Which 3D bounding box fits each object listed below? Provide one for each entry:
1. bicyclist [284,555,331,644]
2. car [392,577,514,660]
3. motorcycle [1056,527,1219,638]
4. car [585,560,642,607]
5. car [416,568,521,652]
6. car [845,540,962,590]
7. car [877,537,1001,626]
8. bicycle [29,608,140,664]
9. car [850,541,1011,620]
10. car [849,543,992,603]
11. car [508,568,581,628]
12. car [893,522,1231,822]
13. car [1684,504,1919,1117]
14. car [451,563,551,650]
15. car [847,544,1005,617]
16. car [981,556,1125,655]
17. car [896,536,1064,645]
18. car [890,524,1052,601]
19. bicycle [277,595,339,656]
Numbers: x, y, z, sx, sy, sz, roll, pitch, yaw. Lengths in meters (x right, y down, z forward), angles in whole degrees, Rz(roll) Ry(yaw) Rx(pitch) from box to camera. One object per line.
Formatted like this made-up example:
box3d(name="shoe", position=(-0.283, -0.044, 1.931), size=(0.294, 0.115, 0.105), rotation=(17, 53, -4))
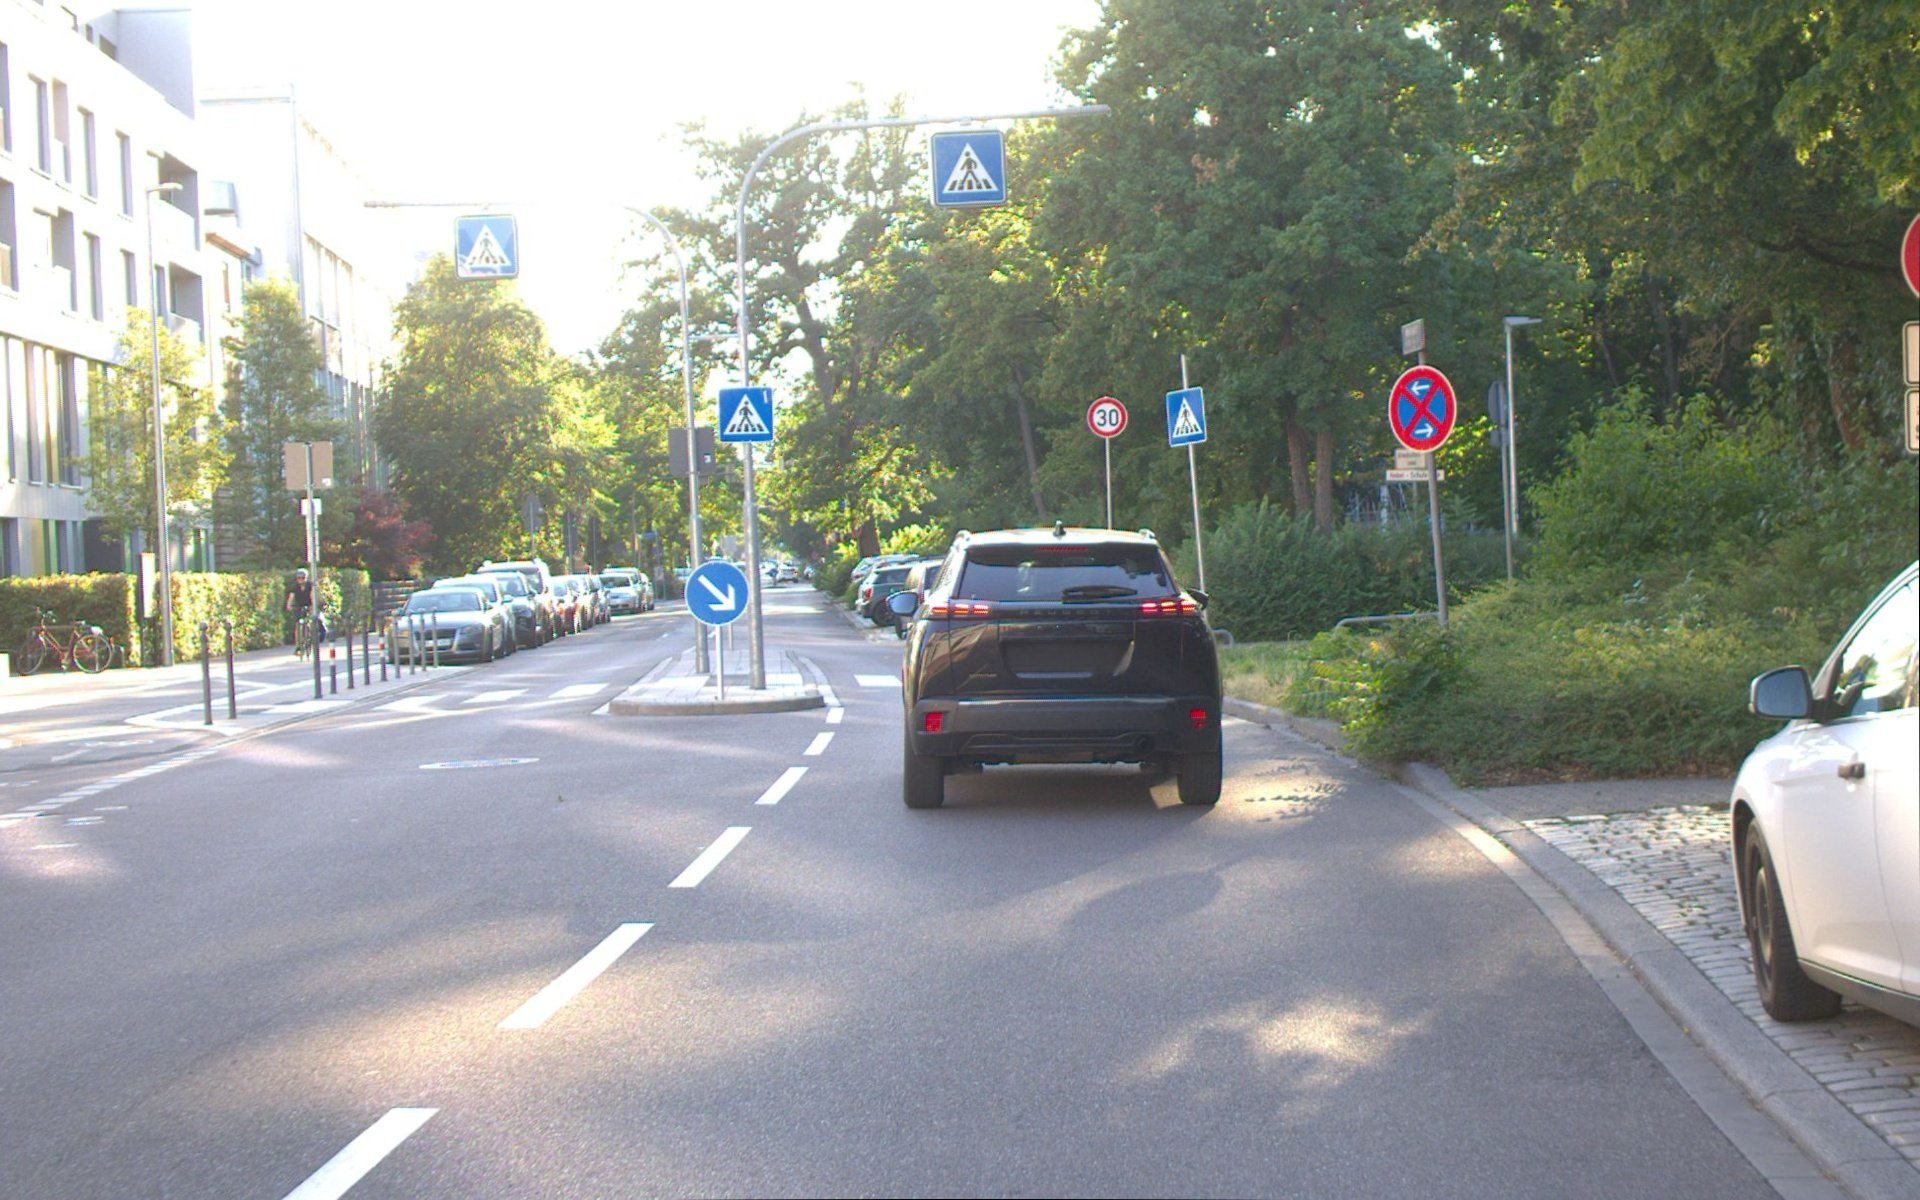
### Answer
box3d(name="bicyclist", position=(-12.304, -0.022, 64.852), size=(0.626, 1.639, 0.757), rotation=(-3, 1, 4))
box3d(name="car", position=(-9.252, 0.316, 62.983), size=(1.742, 1.352, 4.397), rotation=(-3, 1, -3))
box3d(name="motorcycle", position=(2.676, -0.270, 51.726), size=(2.292, 1.539, 1.039), rotation=(-3, 1, 8))
box3d(name="car", position=(-12.244, -0.598, 121.693), size=(1.670, 1.488, 4.062), rotation=(-4, 1, -2))
box3d(name="car", position=(-9.697, 0.171, 68.075), size=(1.742, 1.528, 4.116), rotation=(-3, 1, -5))
box3d(name="car", position=(-2.063, -1.282, 126.187), size=(4.170, 1.704, 1.867), rotation=(-2, 1, 1))
box3d(name="car", position=(-0.437, -0.361, 65.958), size=(1.650, 1.562, 4.302), rotation=(-3, 1, -9))
box3d(name="bicycle", position=(-15.036, 0.612, 59.041), size=(1.751, 0.915, 0.617), rotation=(-1, 0, -5))
box3d(name="car", position=(-0.723, -0.479, 82.255), size=(3.609, 1.520, 1.672), rotation=(-6, 1, -4))
box3d(name="car", position=(-1.266, -0.862, 108.159), size=(4.337, 1.470, 1.742), rotation=(-5, 2, -2))
box3d(name="car", position=(-10.702, -0.067, 88.690), size=(1.598, 1.450, 3.862), rotation=(-3, 1, -4))
box3d(name="car", position=(0.511, 0.353, 20.007), size=(1.768, 1.563, 3.381), rotation=(-1, 1, -1))
box3d(name="car", position=(3.177, 0.472, 8.773), size=(1.748, 1.481, 4.176), rotation=(-2, 1, 0))
box3d(name="car", position=(-9.816, 0.113, 73.799), size=(1.742, 1.670, 4.417), rotation=(-4, 1, -4))
box3d(name="car", position=(-0.857, -0.490, 84.632), size=(3.666, 1.440, 1.735), rotation=(-6, 1, -4))
box3d(name="car", position=(1.482, 0.074, 56.020), size=(1.619, 1.481, 3.420), rotation=(-3, 1, -10))
box3d(name="car", position=(0.300, -0.174, 60.232), size=(1.921, 1.742, 4.667), rotation=(-3, 1, -12))
box3d(name="car", position=(0.223, -0.822, 75.876), size=(3.385, 1.520, 1.672), rotation=(-3, 0, -5))
box3d(name="bicycle", position=(-12.289, 0.466, 64.826), size=(0.633, 1.074, 1.883), rotation=(-3, 1, 5))
